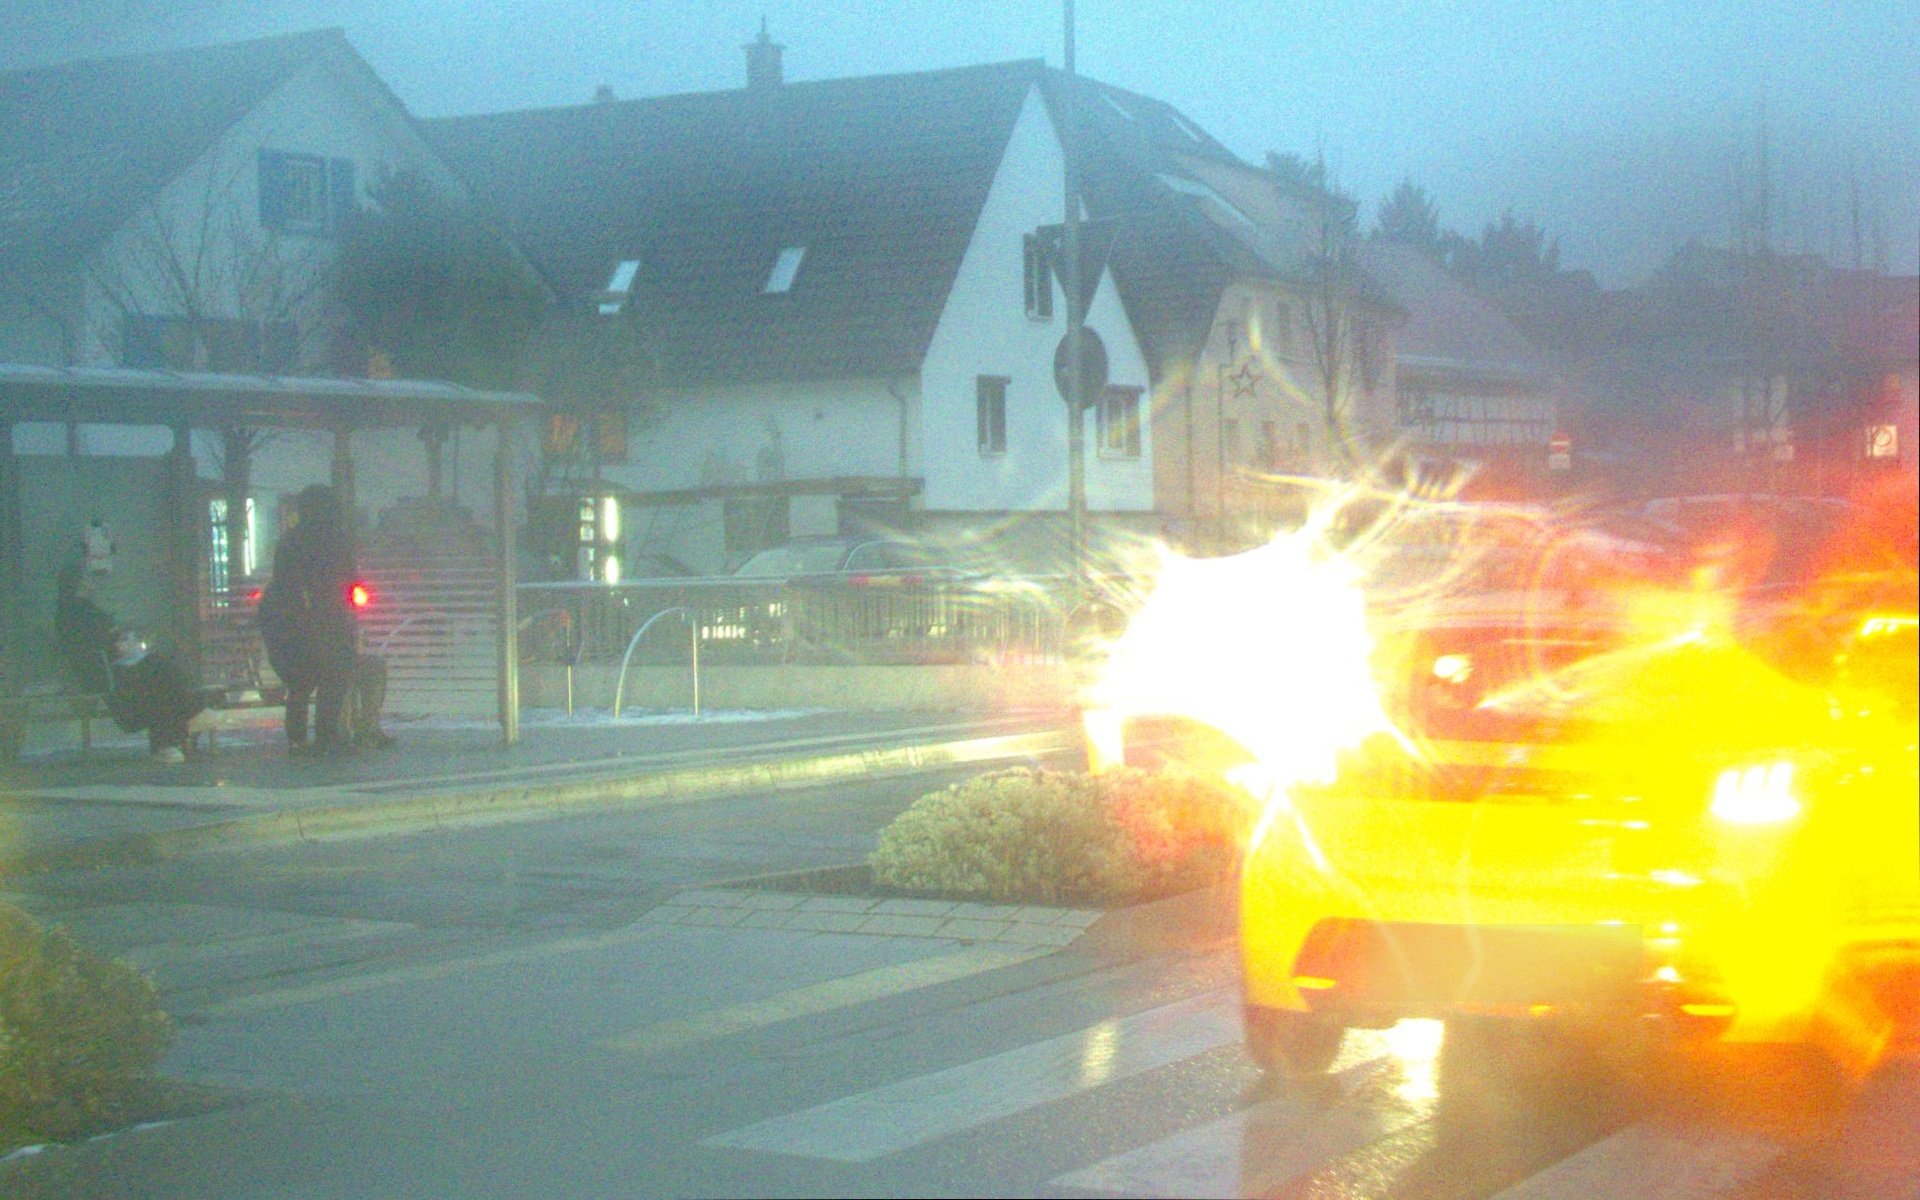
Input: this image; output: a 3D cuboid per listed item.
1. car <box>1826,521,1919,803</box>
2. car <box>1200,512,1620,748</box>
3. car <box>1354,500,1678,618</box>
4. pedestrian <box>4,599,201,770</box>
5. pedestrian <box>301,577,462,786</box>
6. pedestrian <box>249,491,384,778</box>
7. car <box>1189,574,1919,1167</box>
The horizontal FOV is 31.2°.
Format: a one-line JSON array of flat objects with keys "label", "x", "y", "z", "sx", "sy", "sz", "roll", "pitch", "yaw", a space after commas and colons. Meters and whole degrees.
[{"label": "car", "x": 6.849, "y": 0.321, "z": 21.946, "sx": 1.918, "sy": 1.609, "sz": 3.946, "roll": 0, "pitch": 2, "yaw": 24}, {"label": "car", "x": 3.383, "y": 0.146, "z": 25.218, "sx": 1.743, "sy": 1.563, "sz": 4.055, "roll": 1, "pitch": 2, "yaw": 28}, {"label": "car", "x": 8.016, "y": -0.597, "z": 49.553, "sx": 4.312, "sy": 1.634, "sz": 1.844, "roll": 0, "pitch": 2, "yaw": 21}, {"label": "pedestrian", "x": -5.302, "y": 0.513, "z": 21.281, "sx": 0.862, "sy": 1.007, "sz": 0.810, "roll": 0, "pitch": 1, "yaw": 22}, {"label": "pedestrian", "x": -3.837, "y": 0.525, "z": 22.823, "sx": 0.784, "sy": 1.343, "sz": 0.715, "roll": 0, "pitch": 1, "yaw": 25}, {"label": "pedestrian", "x": -4.108, "y": 0.212, "z": 21.978, "sx": 0.729, "sy": 1.811, "sz": 0.531, "roll": -1, "pitch": 1, "yaw": 2}, {"label": "car", "x": 2.144, "y": 0.675, "z": 10.953, "sx": 1.712, "sy": 1.417, "sz": 4.009, "roll": 1, "pitch": 2, "yaw": 21}]
